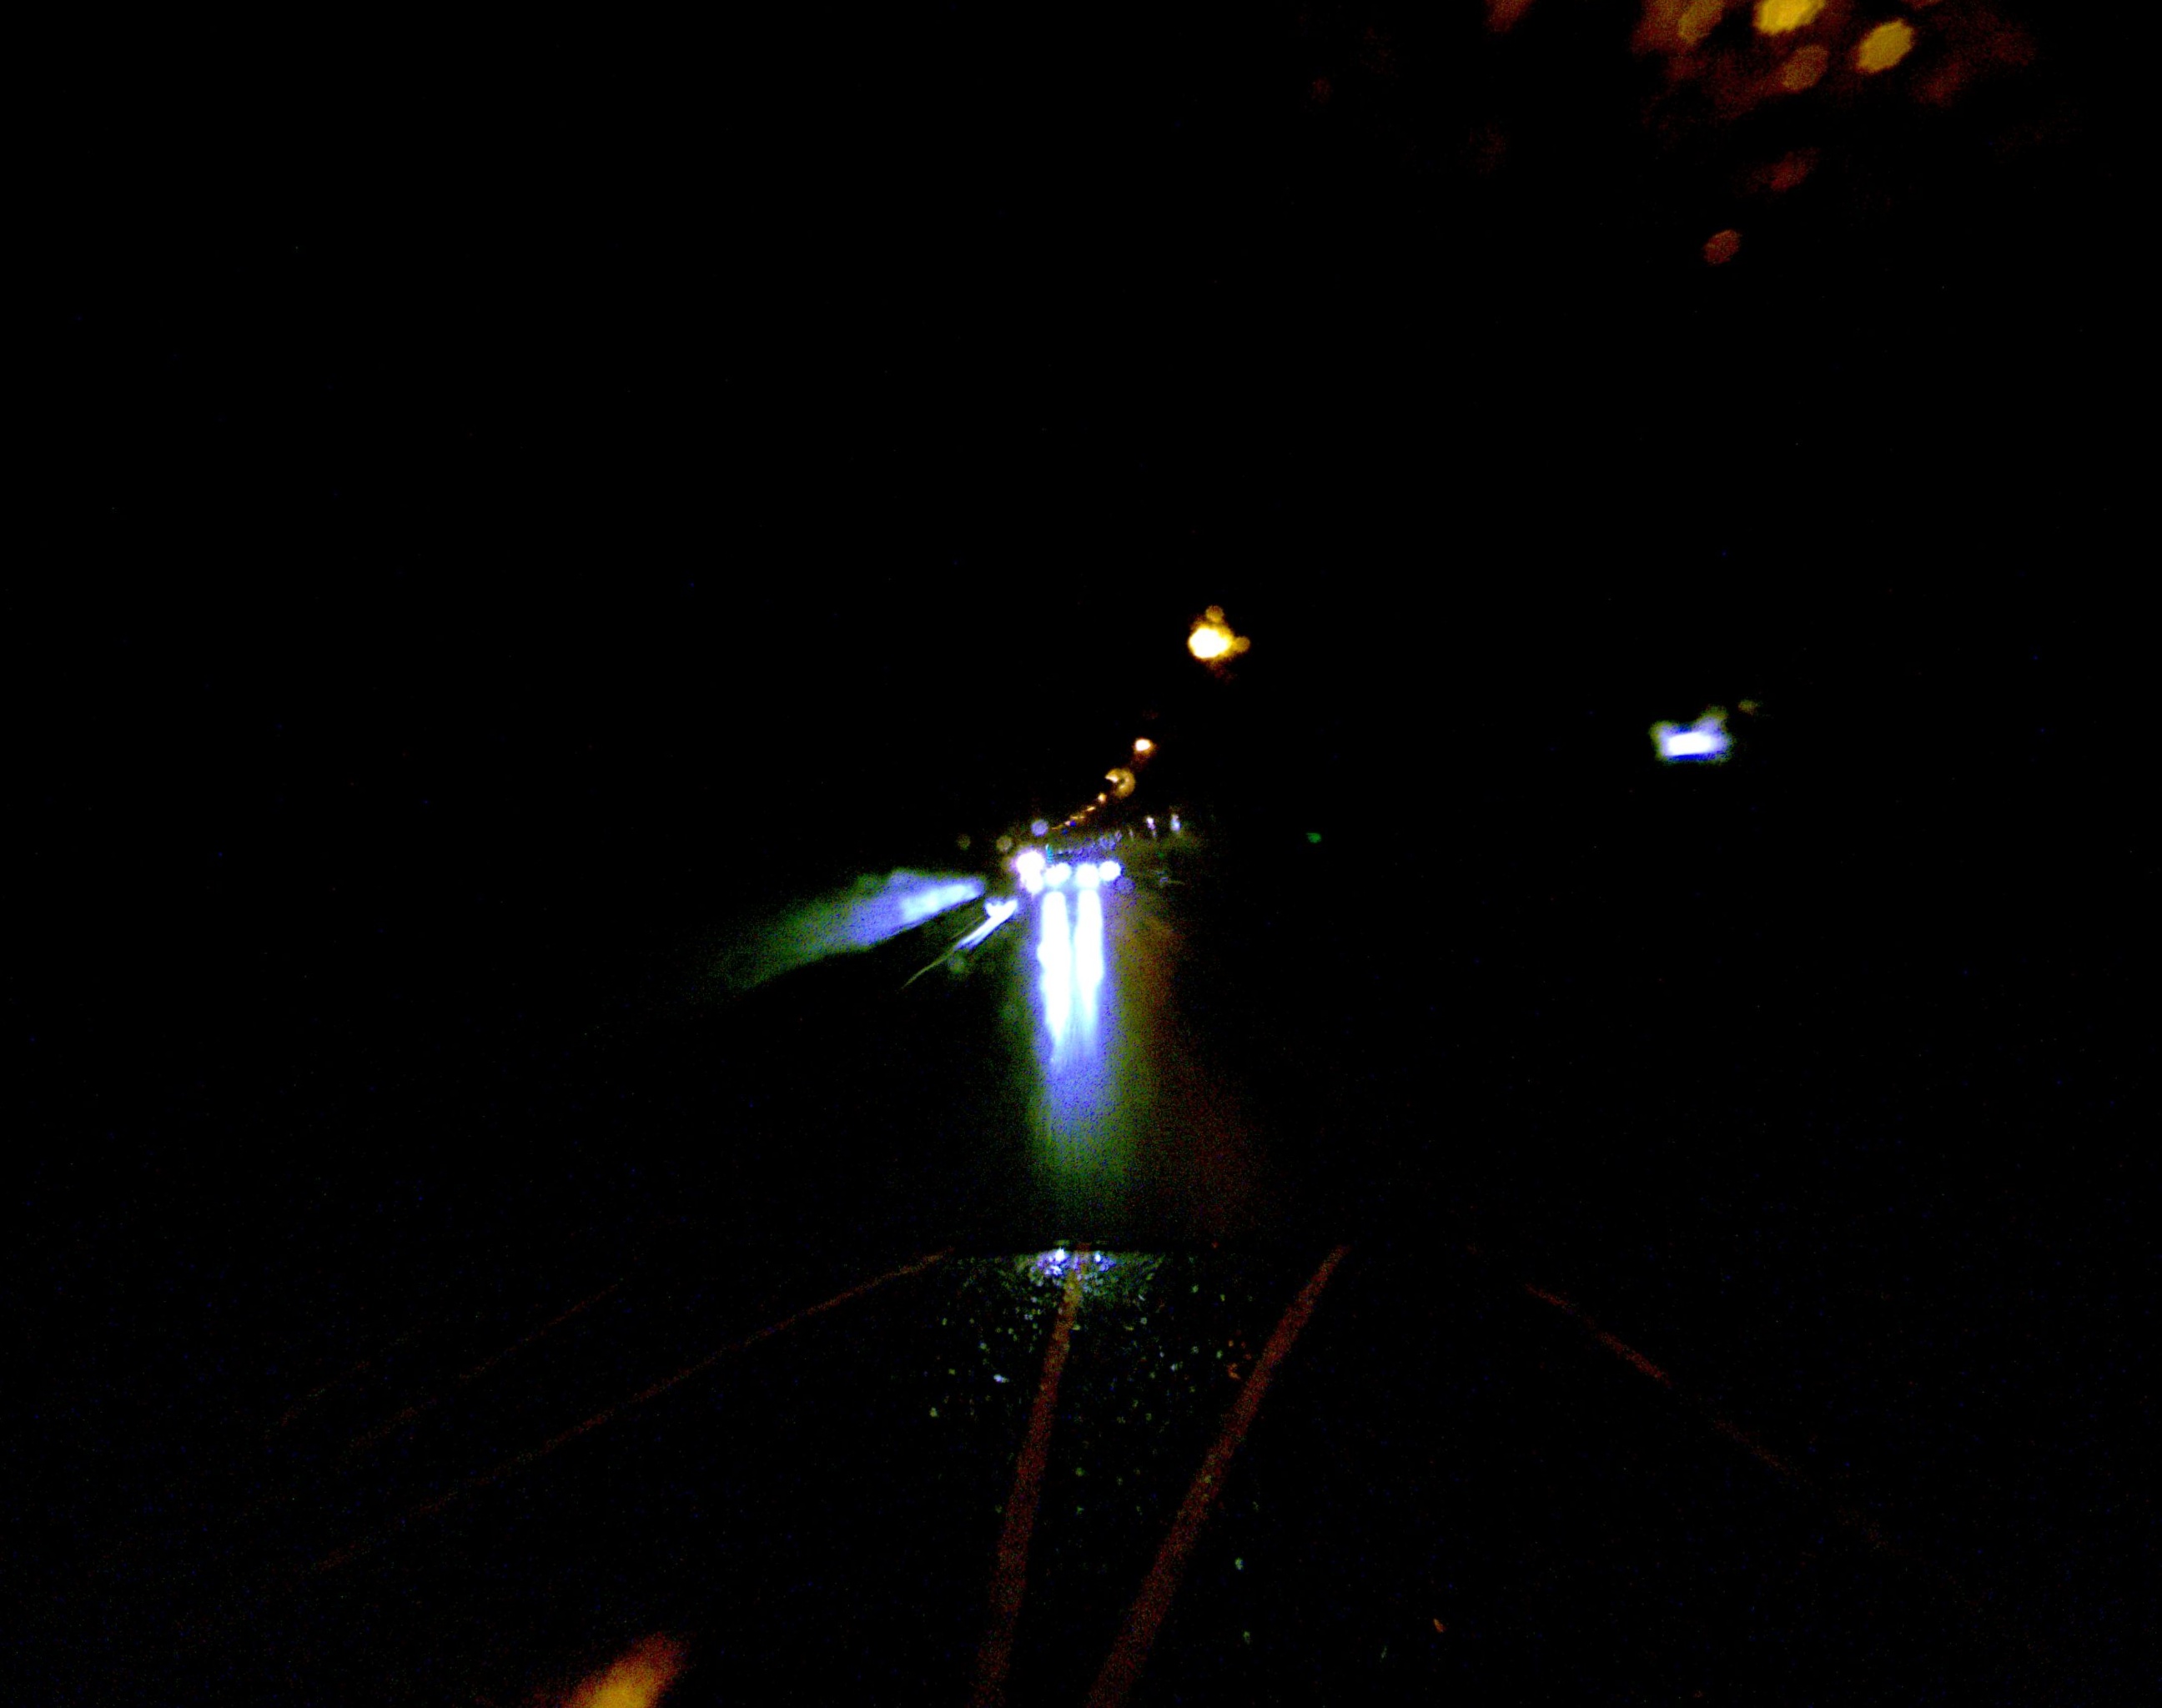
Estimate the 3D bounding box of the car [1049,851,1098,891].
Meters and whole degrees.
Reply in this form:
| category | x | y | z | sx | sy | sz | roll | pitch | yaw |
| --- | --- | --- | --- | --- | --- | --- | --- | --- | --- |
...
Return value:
| category | x | y | z | sx | sy | sz | roll | pitch | yaw |
| --- | --- | --- | --- | --- | --- | --- | --- | --- | --- |
| car | -0.407 | 0.714 | 34.417 | 1.999 | 1.547 | 3.998 | -3 | 1 | -3 |
